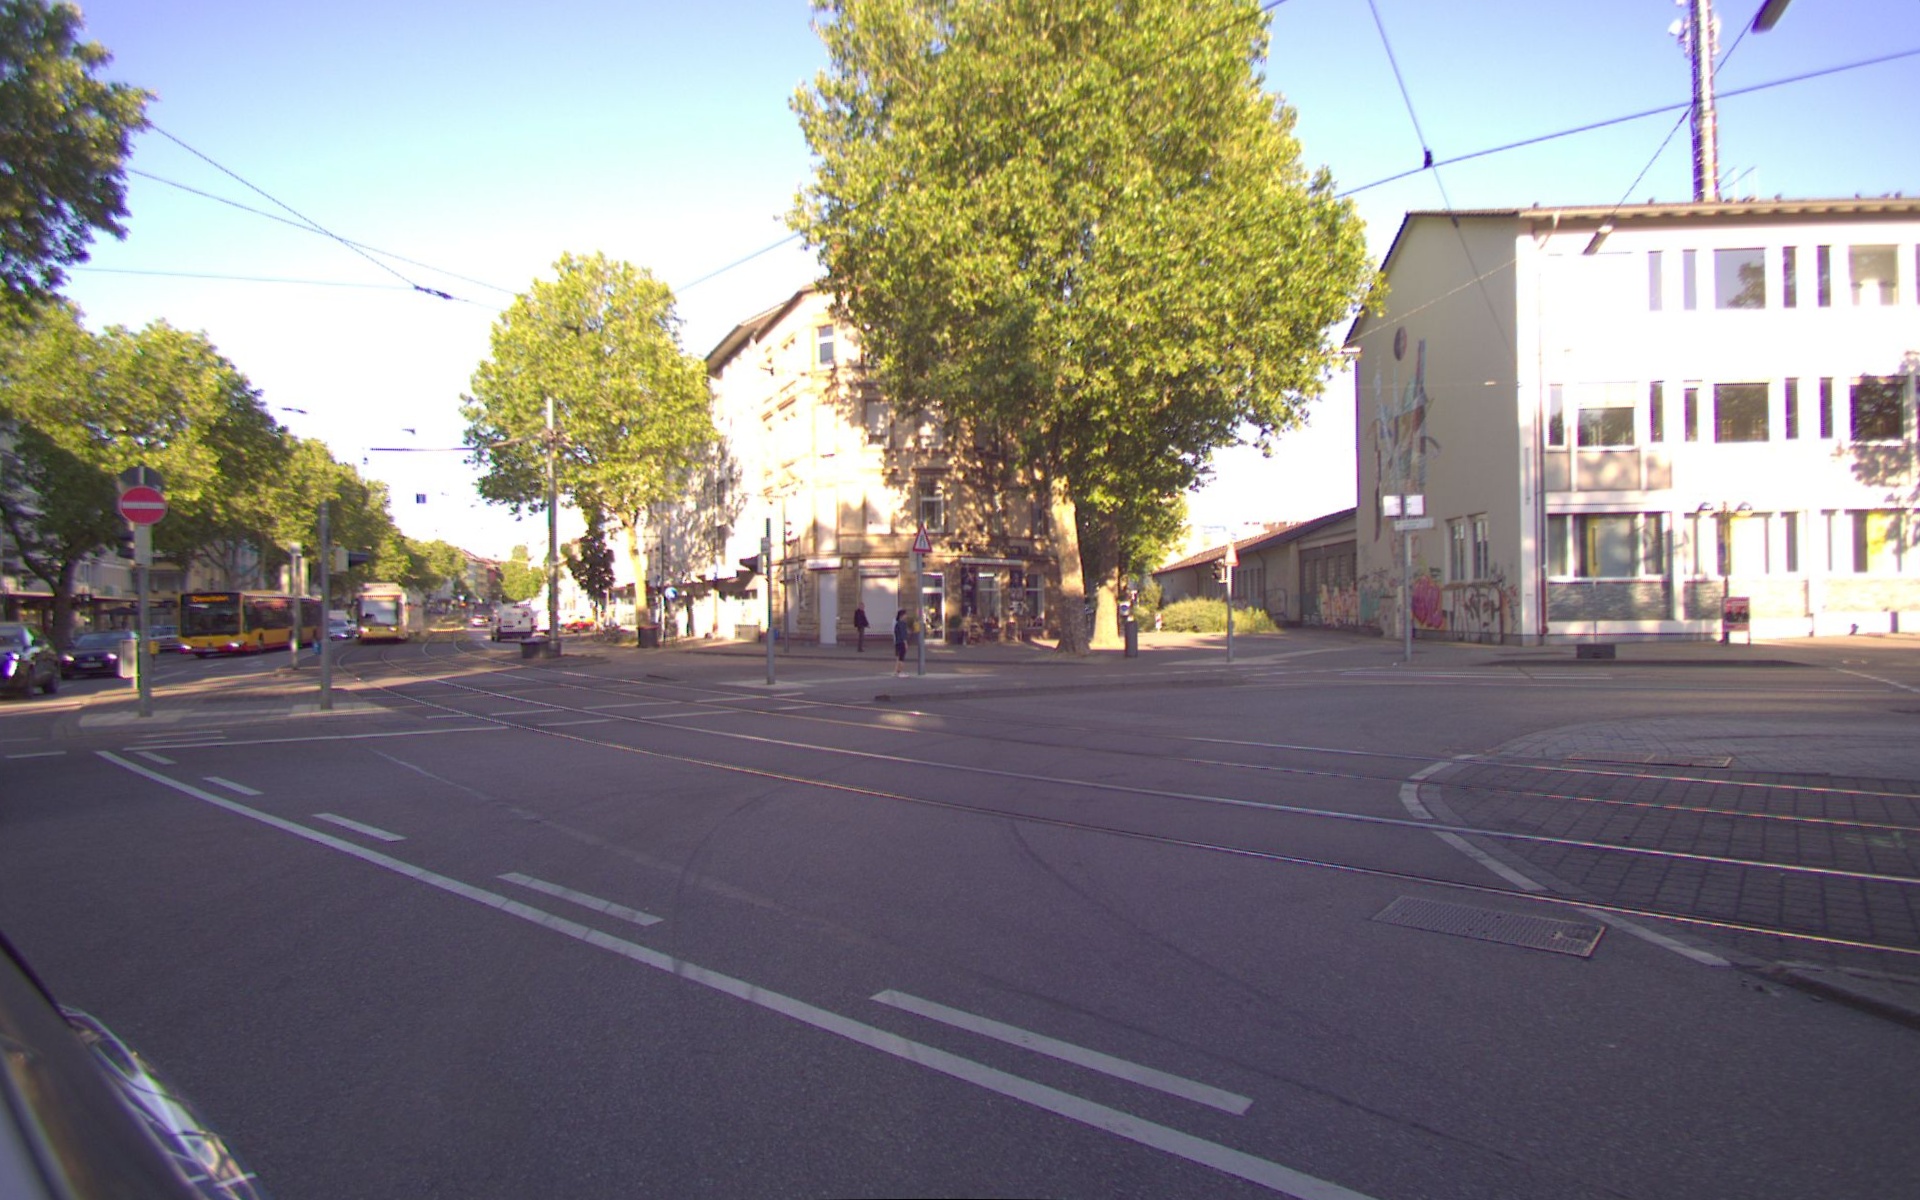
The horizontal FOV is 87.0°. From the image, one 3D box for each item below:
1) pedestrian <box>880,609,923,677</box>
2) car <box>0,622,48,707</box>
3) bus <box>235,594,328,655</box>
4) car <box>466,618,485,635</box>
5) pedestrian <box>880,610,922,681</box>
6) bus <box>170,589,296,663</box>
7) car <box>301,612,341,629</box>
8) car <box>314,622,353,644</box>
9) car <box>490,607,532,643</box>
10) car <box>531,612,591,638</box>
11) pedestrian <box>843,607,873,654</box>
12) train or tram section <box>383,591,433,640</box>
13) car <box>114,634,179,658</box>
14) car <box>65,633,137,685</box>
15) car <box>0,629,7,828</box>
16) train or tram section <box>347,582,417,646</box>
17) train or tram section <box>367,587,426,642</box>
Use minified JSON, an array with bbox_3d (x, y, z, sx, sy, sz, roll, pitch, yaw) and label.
[{"bbox_3d":[-1.336,0.970,23.305,0.793,1.520,0.795,-2,-1,11],"label":"pedestrian"},{"bbox_3d":[-20.737,1.327,21.257,1.819,1.670,4.309,-2,0,-36],"label":"car"},{"bbox_3d":[-38.203,1.372,57.319,2.707,3.127,9.528,-1,-1,-24],"label":"bus"},{"bbox_3d":[-56.339,3.077,117.718,1.786,1.790,4.012,-1,-1,-29],"label":"car"},{"bbox_3d":[-1.296,0.995,22.452,0.792,1.520,0.796,-1,-1,6],"label":"pedestrian"},{"bbox_3d":[-34.552,1.200,48.529,2.707,3.127,9.528,-1,-1,-22],"label":"bus"},{"bbox_3d":[-81.586,2.595,129.226,1.870,2.029,3.965,-2,-1,25],"label":"car"},{"bbox_3d":[-46.586,2.447,75.348,1.880,1.486,4.433,-1,0,-24],"label":"car"},{"bbox_3d":[-28.146,1.555,63.384,2.131,2.138,4.994,0,-2,-27],"label":"car"},{"bbox_3d":[-32.326,1.999,82.177,1.891,1.991,4.615,-2,-1,22],"label":"car"},{"bbox_3d":[-3.897,1.163,38.634,0.800,1.769,0.788,-2,-1,34],"label":"pedestrian"},{"bbox_3d":[-43.598,1.222,80.226,2.830,3.514,10.372,-1,0,-25],"label":"train or tram section"},{"bbox_3d":[-46.224,2.619,57.531,1.195,1.225,2.606,-1,0,27],"label":"car"},{"bbox_3d":[-26.910,1.807,31.664,1.627,1.483,3.713,-1,-1,-41],"label":"car"},{"bbox_3d":[-8.958,0.836,7.786,4.295,1.670,1.825,-2,0,40],"label":"car"},{"bbox_3d":[-34.883,0.863,61.376,2.776,3.514,10.372,-1,0,-25],"label":"train or tram section"},{"bbox_3d":[-39.256,1.016,70.806,2.795,3.514,10.372,-1,0,-25],"label":"train or tram section"}]
